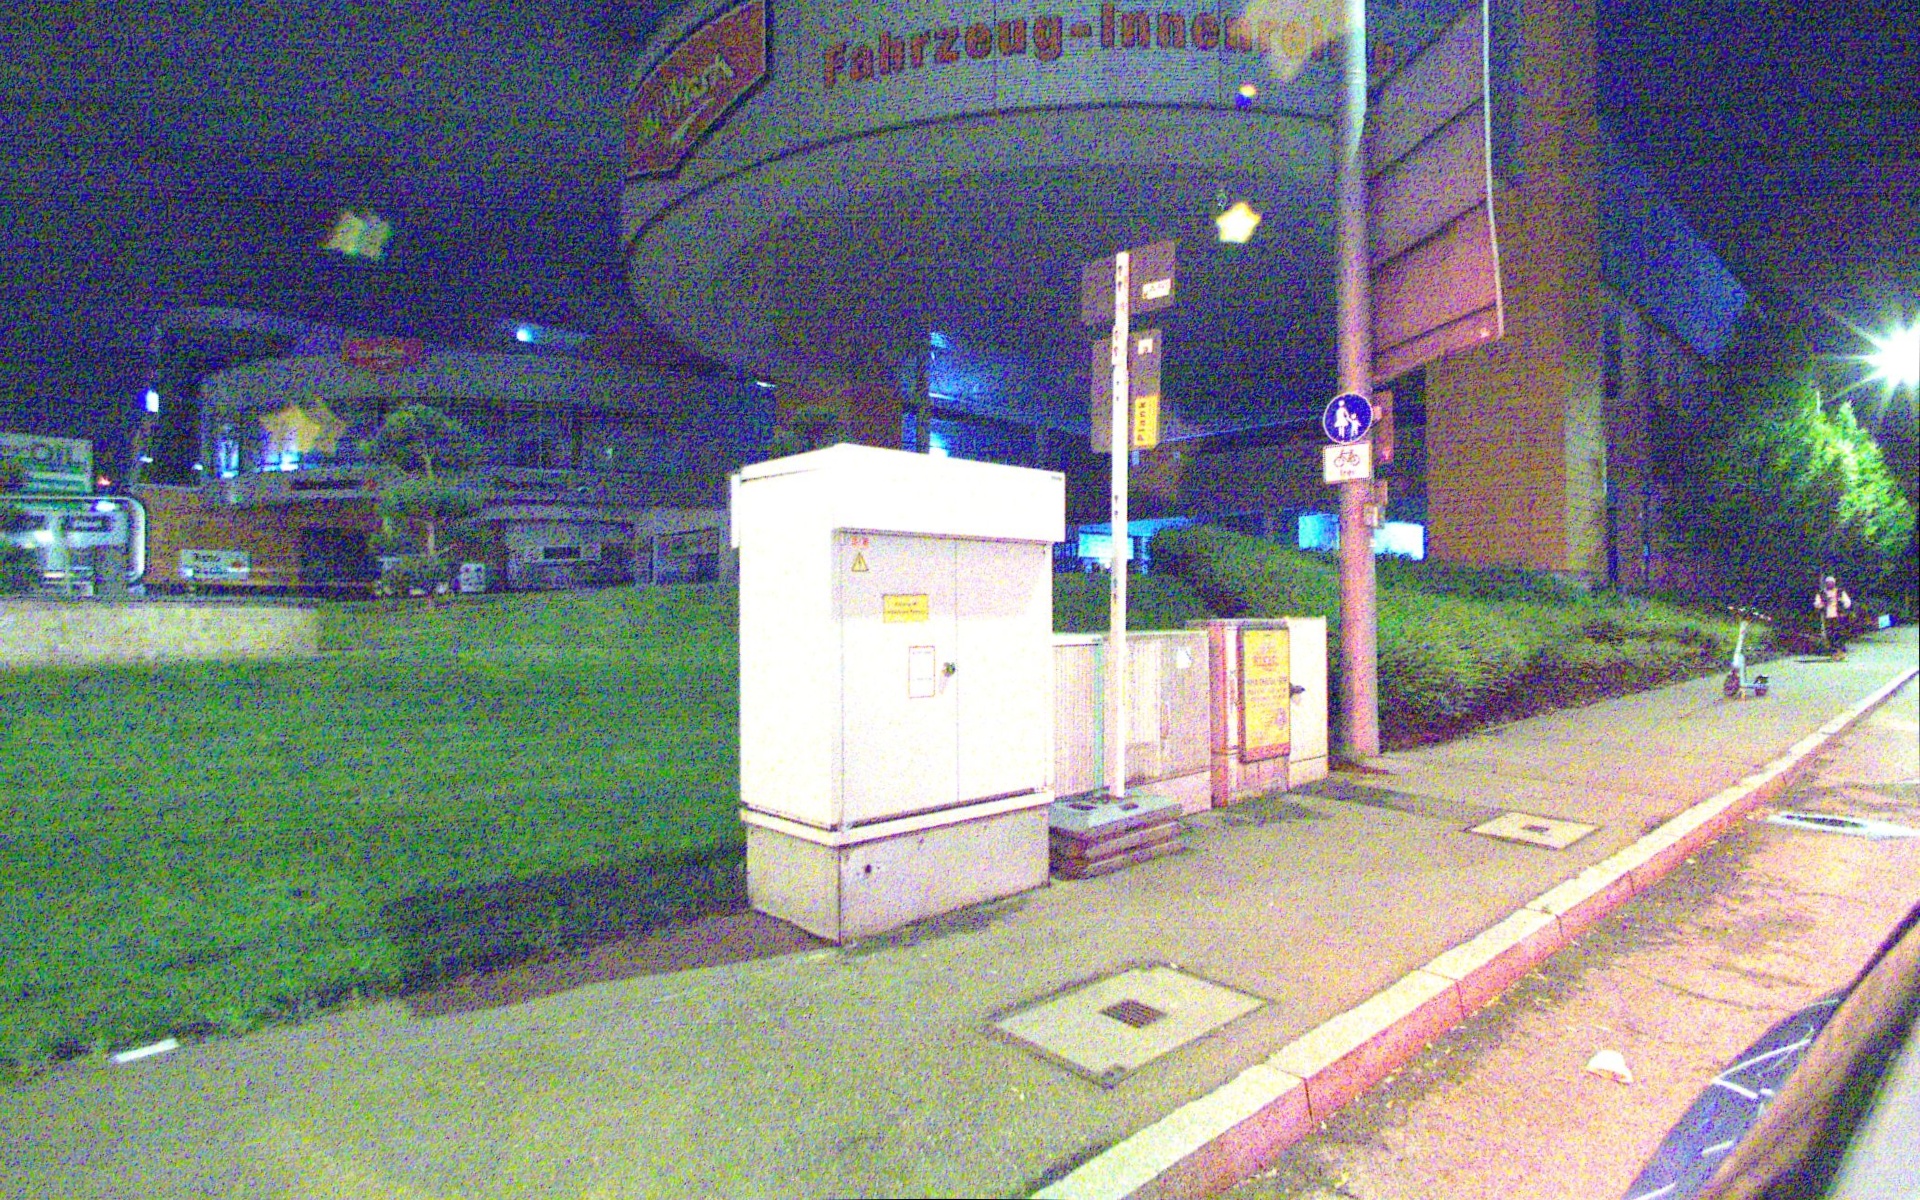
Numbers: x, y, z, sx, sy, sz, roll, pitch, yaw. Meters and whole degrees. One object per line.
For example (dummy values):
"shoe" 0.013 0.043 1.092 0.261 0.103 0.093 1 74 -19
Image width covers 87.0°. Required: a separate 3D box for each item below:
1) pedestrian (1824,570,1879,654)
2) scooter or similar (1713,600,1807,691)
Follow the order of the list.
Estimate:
"pedestrian" 20.608 0.259 23.385 1.016 1.888 0.819 0 0 -41
"scooter or similar" 11.051 0.624 13.985 1.111 1.217 0.470 1 -1 -17
